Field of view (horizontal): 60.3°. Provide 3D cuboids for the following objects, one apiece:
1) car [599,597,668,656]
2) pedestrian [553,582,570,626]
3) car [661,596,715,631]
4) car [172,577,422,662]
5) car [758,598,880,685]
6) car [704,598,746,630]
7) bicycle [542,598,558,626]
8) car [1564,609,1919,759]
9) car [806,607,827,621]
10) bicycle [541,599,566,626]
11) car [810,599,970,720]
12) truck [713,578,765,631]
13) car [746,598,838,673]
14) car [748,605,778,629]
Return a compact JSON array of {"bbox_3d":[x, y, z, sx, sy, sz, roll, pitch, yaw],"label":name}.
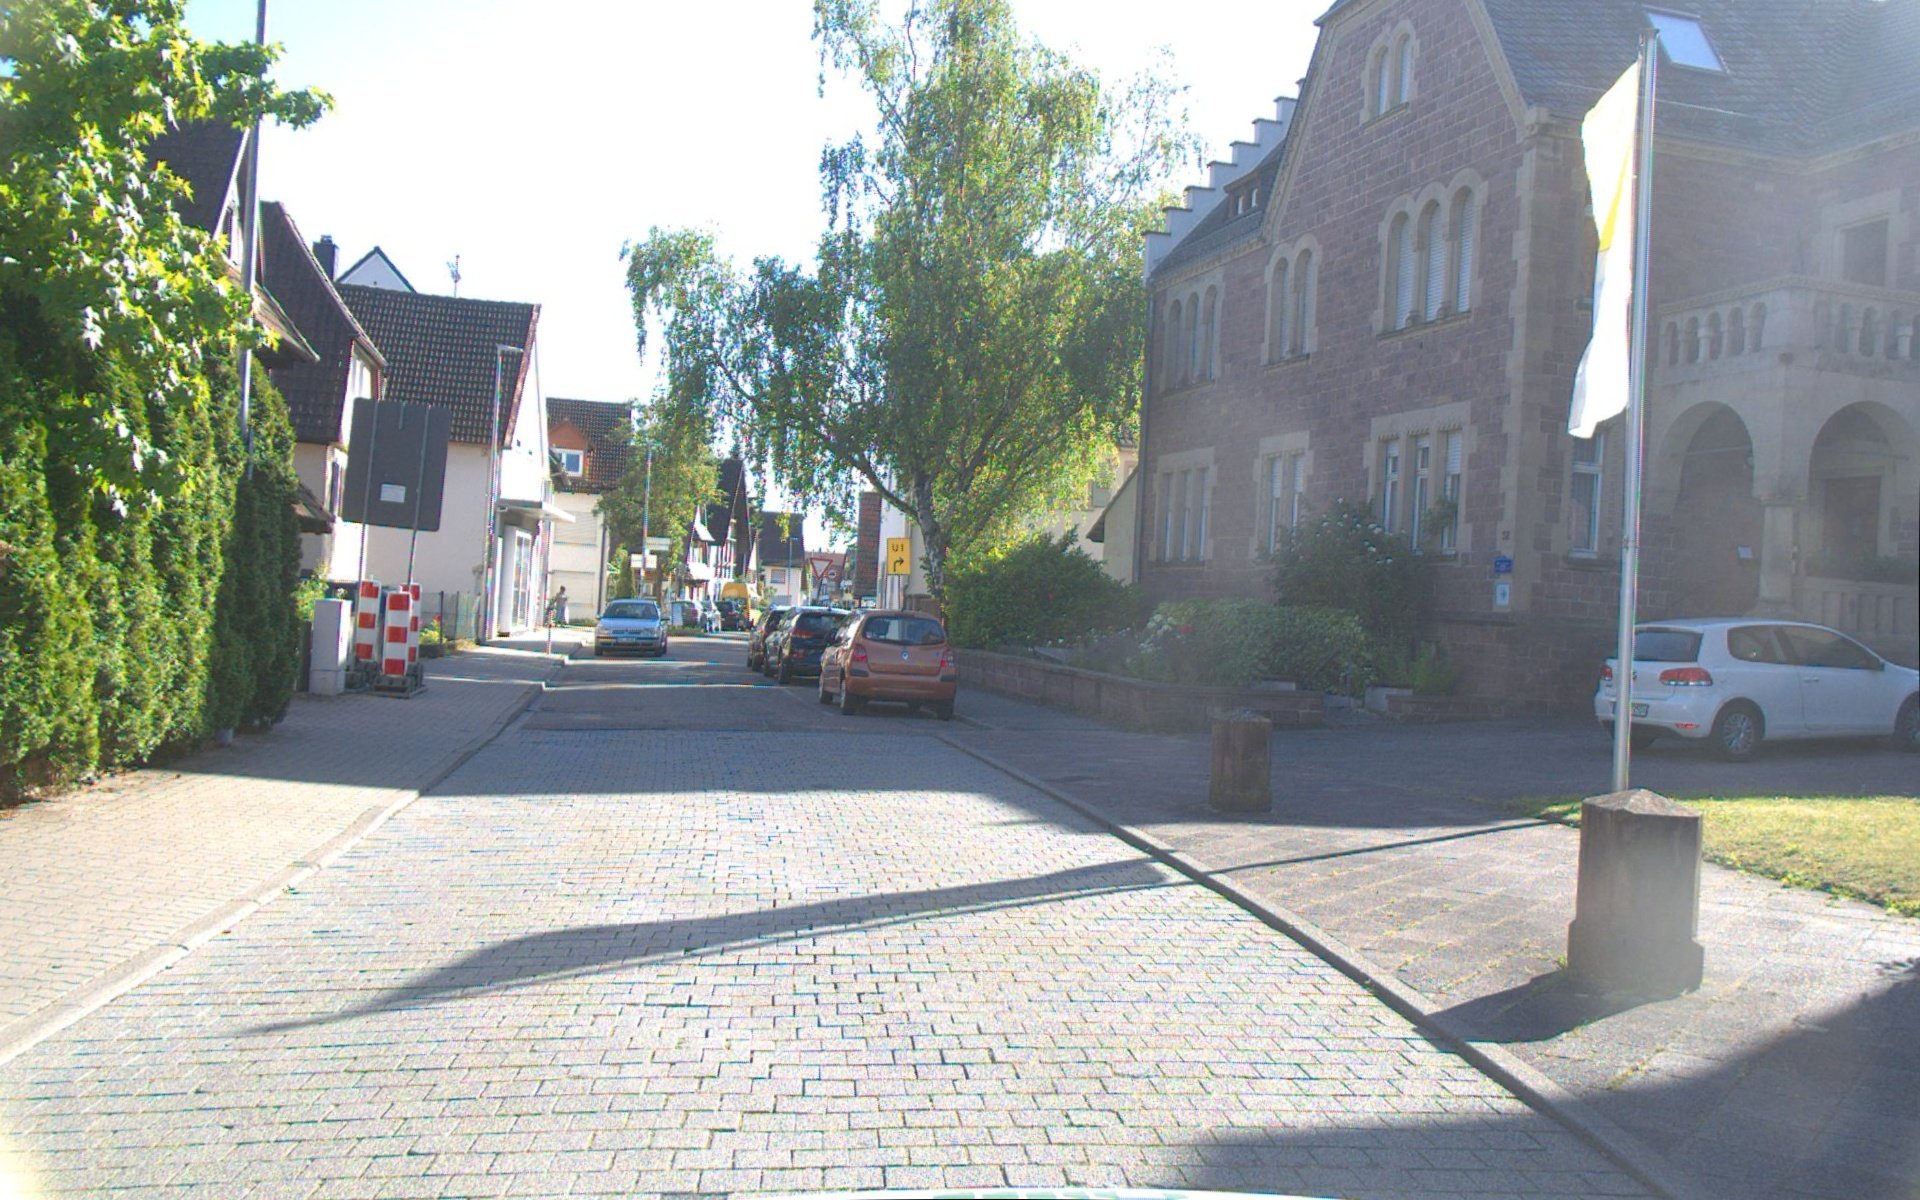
[{"bbox_3d":[-8.512,0.663,43.228,1.641,1.427,3.882,2,0,-11],"label":"car"},{"bbox_3d":[-16.128,0.161,66.926,0.474,1.722,0.556,4,-3,-5],"label":"pedestrian"},{"bbox_3d":[-13.028,0.660,79.387,1.829,1.532,4.106,3,-1,0],"label":"car"},{"bbox_3d":[-12.211,0.355,30.734,4.090,1.487,1.841,1,0,-16],"label":"car"},{"bbox_3d":[-2.852,0.773,32.679,1.776,1.461,4.272,4,0,-13],"label":"car"},{"bbox_3d":[-13.149,0.814,92.711,1.770,1.650,3.880,3,-1,0],"label":"car"},{"bbox_3d":[-16.527,0.490,66.692,0.415,1.071,1.378,3,-2,-9],"label":"bicycle"},{"bbox_3d":[9.030,0.886,18.641,3.838,1.522,1.894,0,-1,-19],"label":"car"},{"bbox_3d":[-18.489,1.789,213.134,1.940,1.610,3.979,4,-1,-15],"label":"car"},{"bbox_3d":[-17.206,0.522,70.033,0.566,1.071,2.035,3,-2,-2],"label":"bicycle"},{"bbox_3d":[-1.121,0.814,24.424,1.620,1.504,3.921,4,0,-13],"label":"car"},{"bbox_3d":[-13.074,0.309,98.291,2.222,2.918,5.781,3,-1,0],"label":"truck"},{"bbox_3d":[-3.849,0.758,37.290,1.774,1.461,4.277,4,0,-9],"label":"car"},{"bbox_3d":[-12.780,1.094,107.323,1.613,1.457,3.612,4,-1,-3],"label":"car"}]
